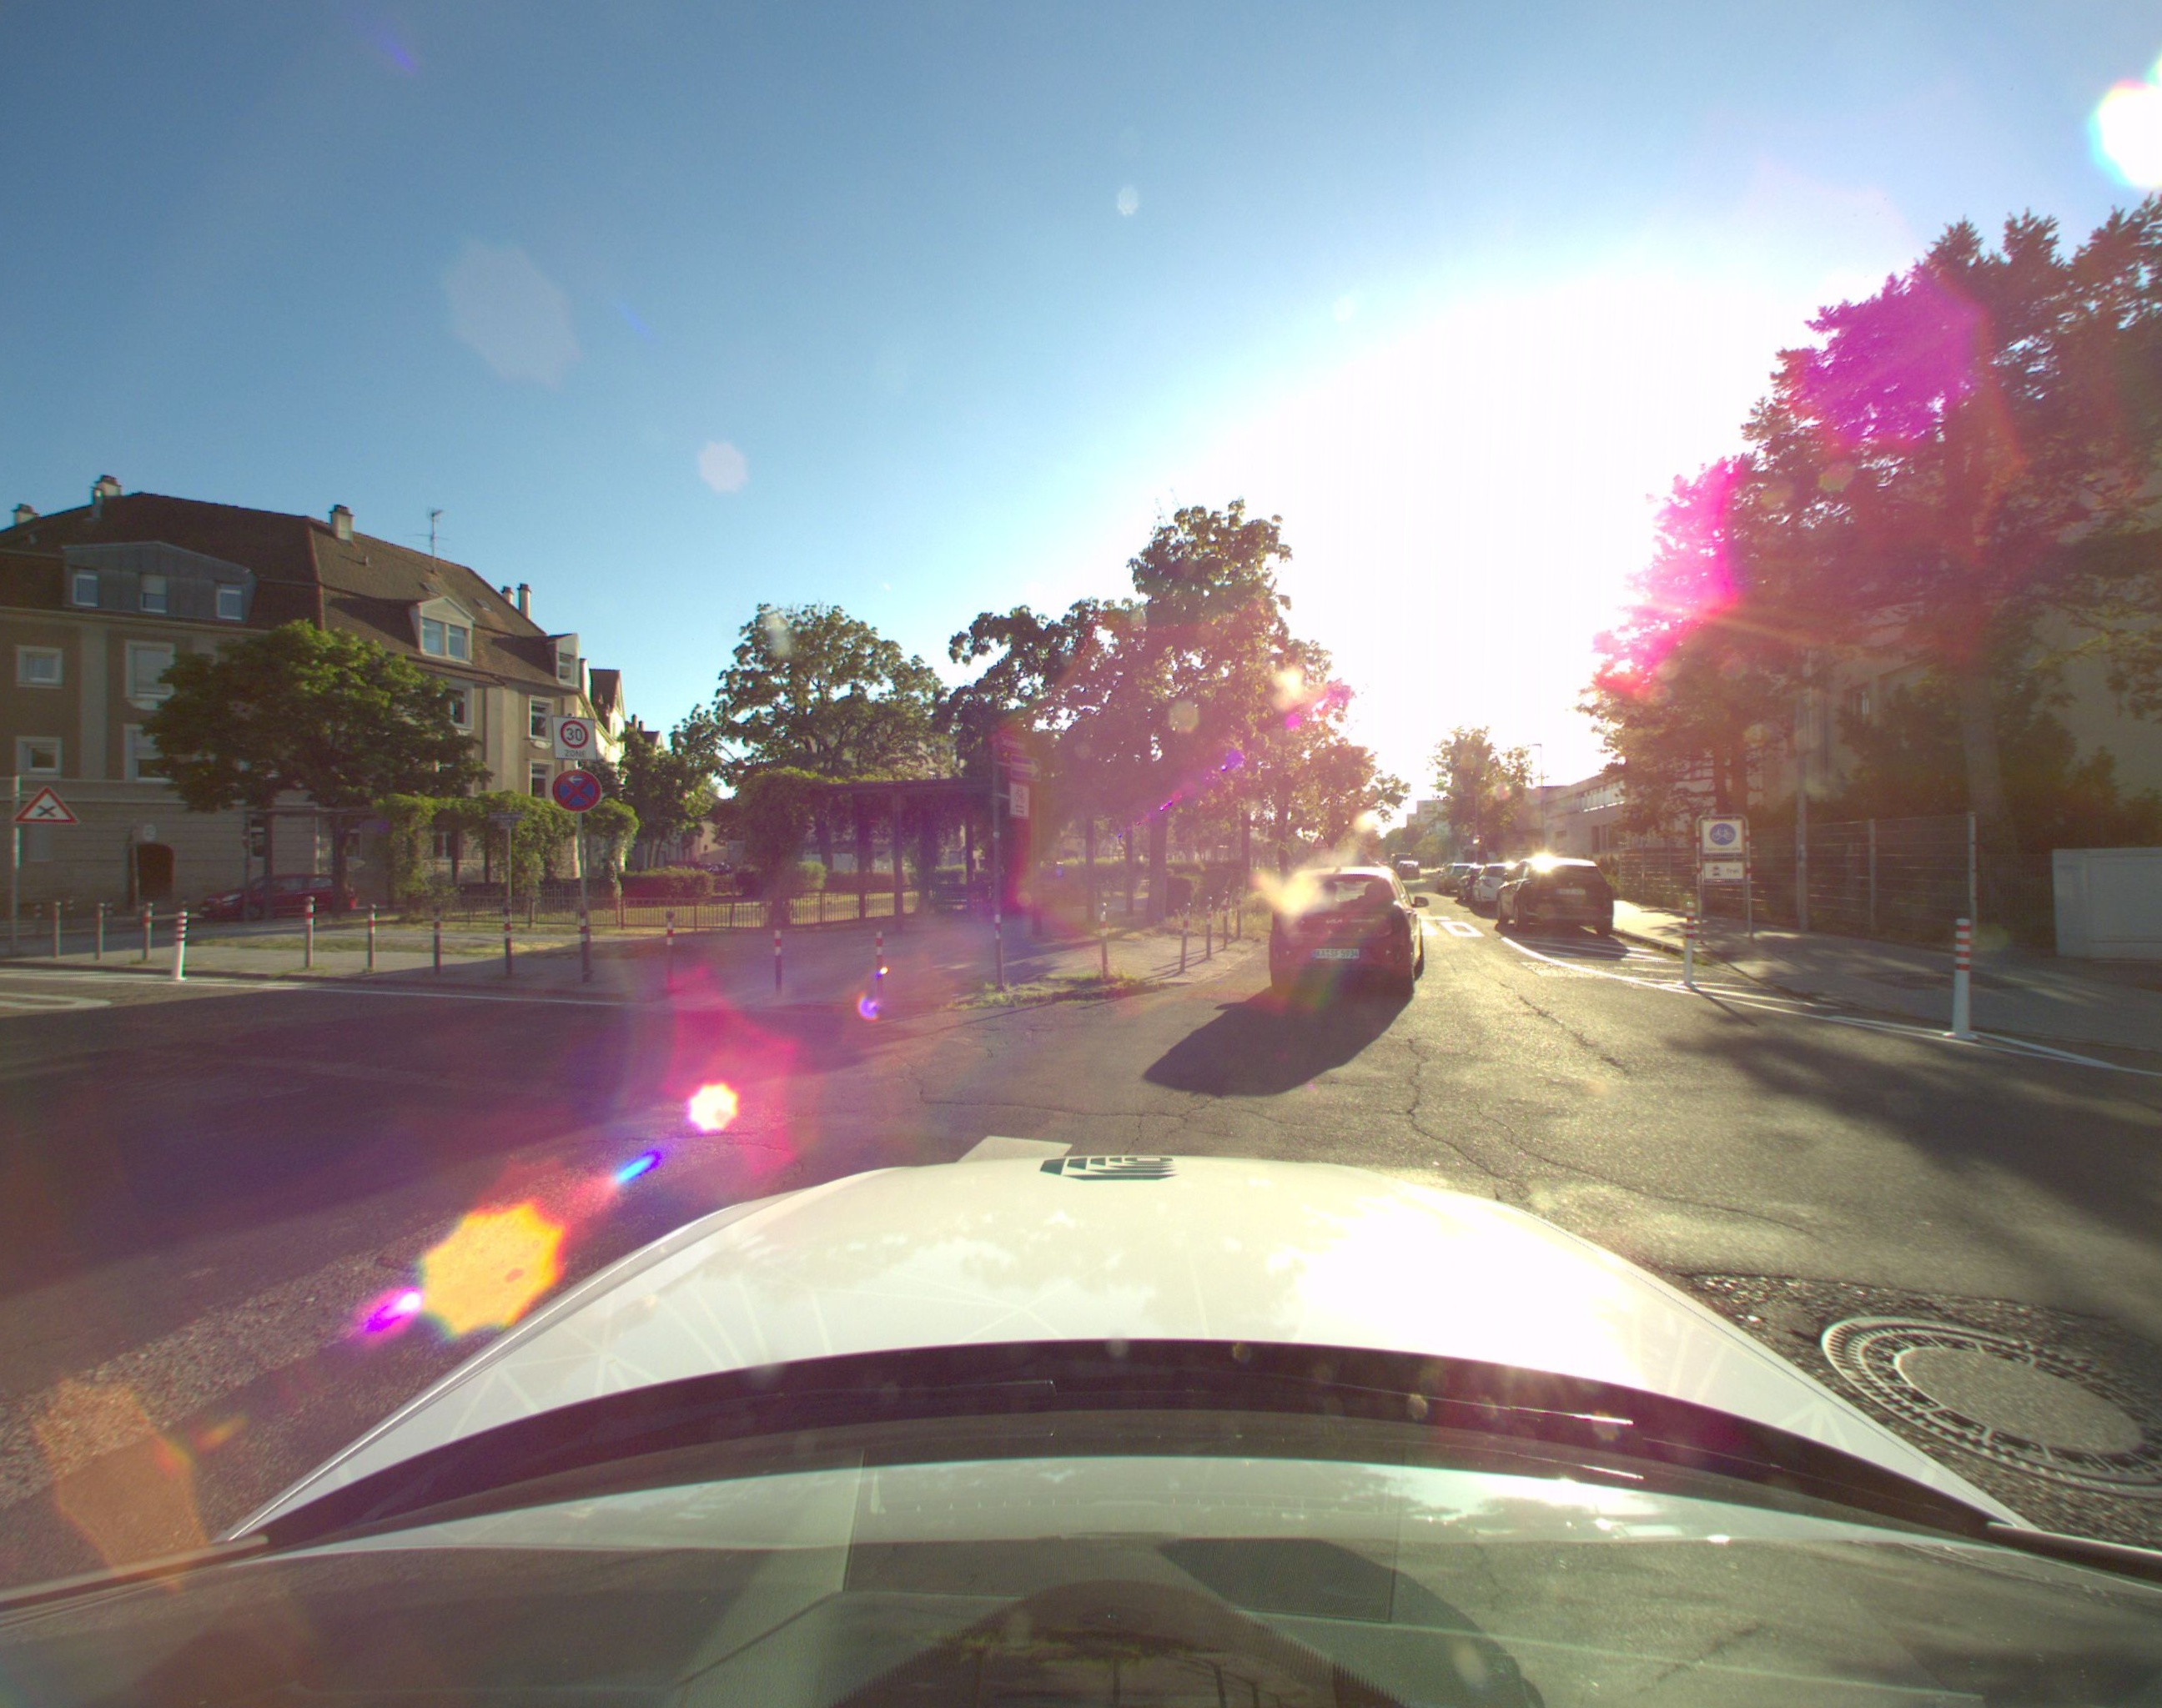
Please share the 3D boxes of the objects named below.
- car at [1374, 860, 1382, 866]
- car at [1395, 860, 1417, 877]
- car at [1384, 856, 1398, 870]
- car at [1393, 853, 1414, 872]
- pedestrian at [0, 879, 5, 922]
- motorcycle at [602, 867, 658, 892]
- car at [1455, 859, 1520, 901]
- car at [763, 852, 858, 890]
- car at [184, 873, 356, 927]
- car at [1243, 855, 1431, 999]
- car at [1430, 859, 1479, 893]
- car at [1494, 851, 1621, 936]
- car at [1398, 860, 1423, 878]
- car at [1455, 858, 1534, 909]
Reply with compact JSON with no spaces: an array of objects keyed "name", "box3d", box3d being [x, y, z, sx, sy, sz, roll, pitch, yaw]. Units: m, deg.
[{"name":"car","box3d":[77.831,2.339,213.649,1.850,1.618,4.019,-1,-1,19]},{"name":"car","box3d":[30.928,1.347,77.539,1.716,1.518,3.777,-1,-1,18]},{"name":"car","box3d":[48.015,1.361,126.156,1.977,2.124,4.020,-1,-1,20]},{"name":"car","box3d":[35.694,0.938,90.183,1.977,2.124,4.020,-1,-1,20]},{"name":"pedestrian","box3d":[-39.333,1.657,29.067,0.823,1.545,0.735,3,-1,-30]},{"name":"motorcycle","box3d":[-28.307,1.586,51.111,3.202,1.487,0.855,-2,-2,8]},{"name":"car","box3d":[15.579,0.978,31.390,1.716,1.518,3.778,-1,-1,19]},{"name":"car","box3d":[-20.864,1.303,63.159,6.666,2.745,2.310,-1,-1,-10]},{"name":"car","box3d":[-29.935,1.627,30.233,1.790,1.741,4.109,1,0,21]},{"name":"car","box3d":[3.536,0.815,10.755,1.748,1.526,3.795,-2,-1,26]},{"name":"car","box3d":[18.412,1.059,40.248,1.751,1.526,3.790,-2,-1,18]},{"name":"car","box3d":[10.664,0.815,18.530,1.802,1.641,4.238,2,0,21]},{"name":"car","box3d":[29.660,1.335,73.330,1.743,1.518,3.777,-1,-1,18]},{"name":"car","box3d":[13.561,0.933,26.927,1.751,1.526,3.790,-2,-1,18]}]
